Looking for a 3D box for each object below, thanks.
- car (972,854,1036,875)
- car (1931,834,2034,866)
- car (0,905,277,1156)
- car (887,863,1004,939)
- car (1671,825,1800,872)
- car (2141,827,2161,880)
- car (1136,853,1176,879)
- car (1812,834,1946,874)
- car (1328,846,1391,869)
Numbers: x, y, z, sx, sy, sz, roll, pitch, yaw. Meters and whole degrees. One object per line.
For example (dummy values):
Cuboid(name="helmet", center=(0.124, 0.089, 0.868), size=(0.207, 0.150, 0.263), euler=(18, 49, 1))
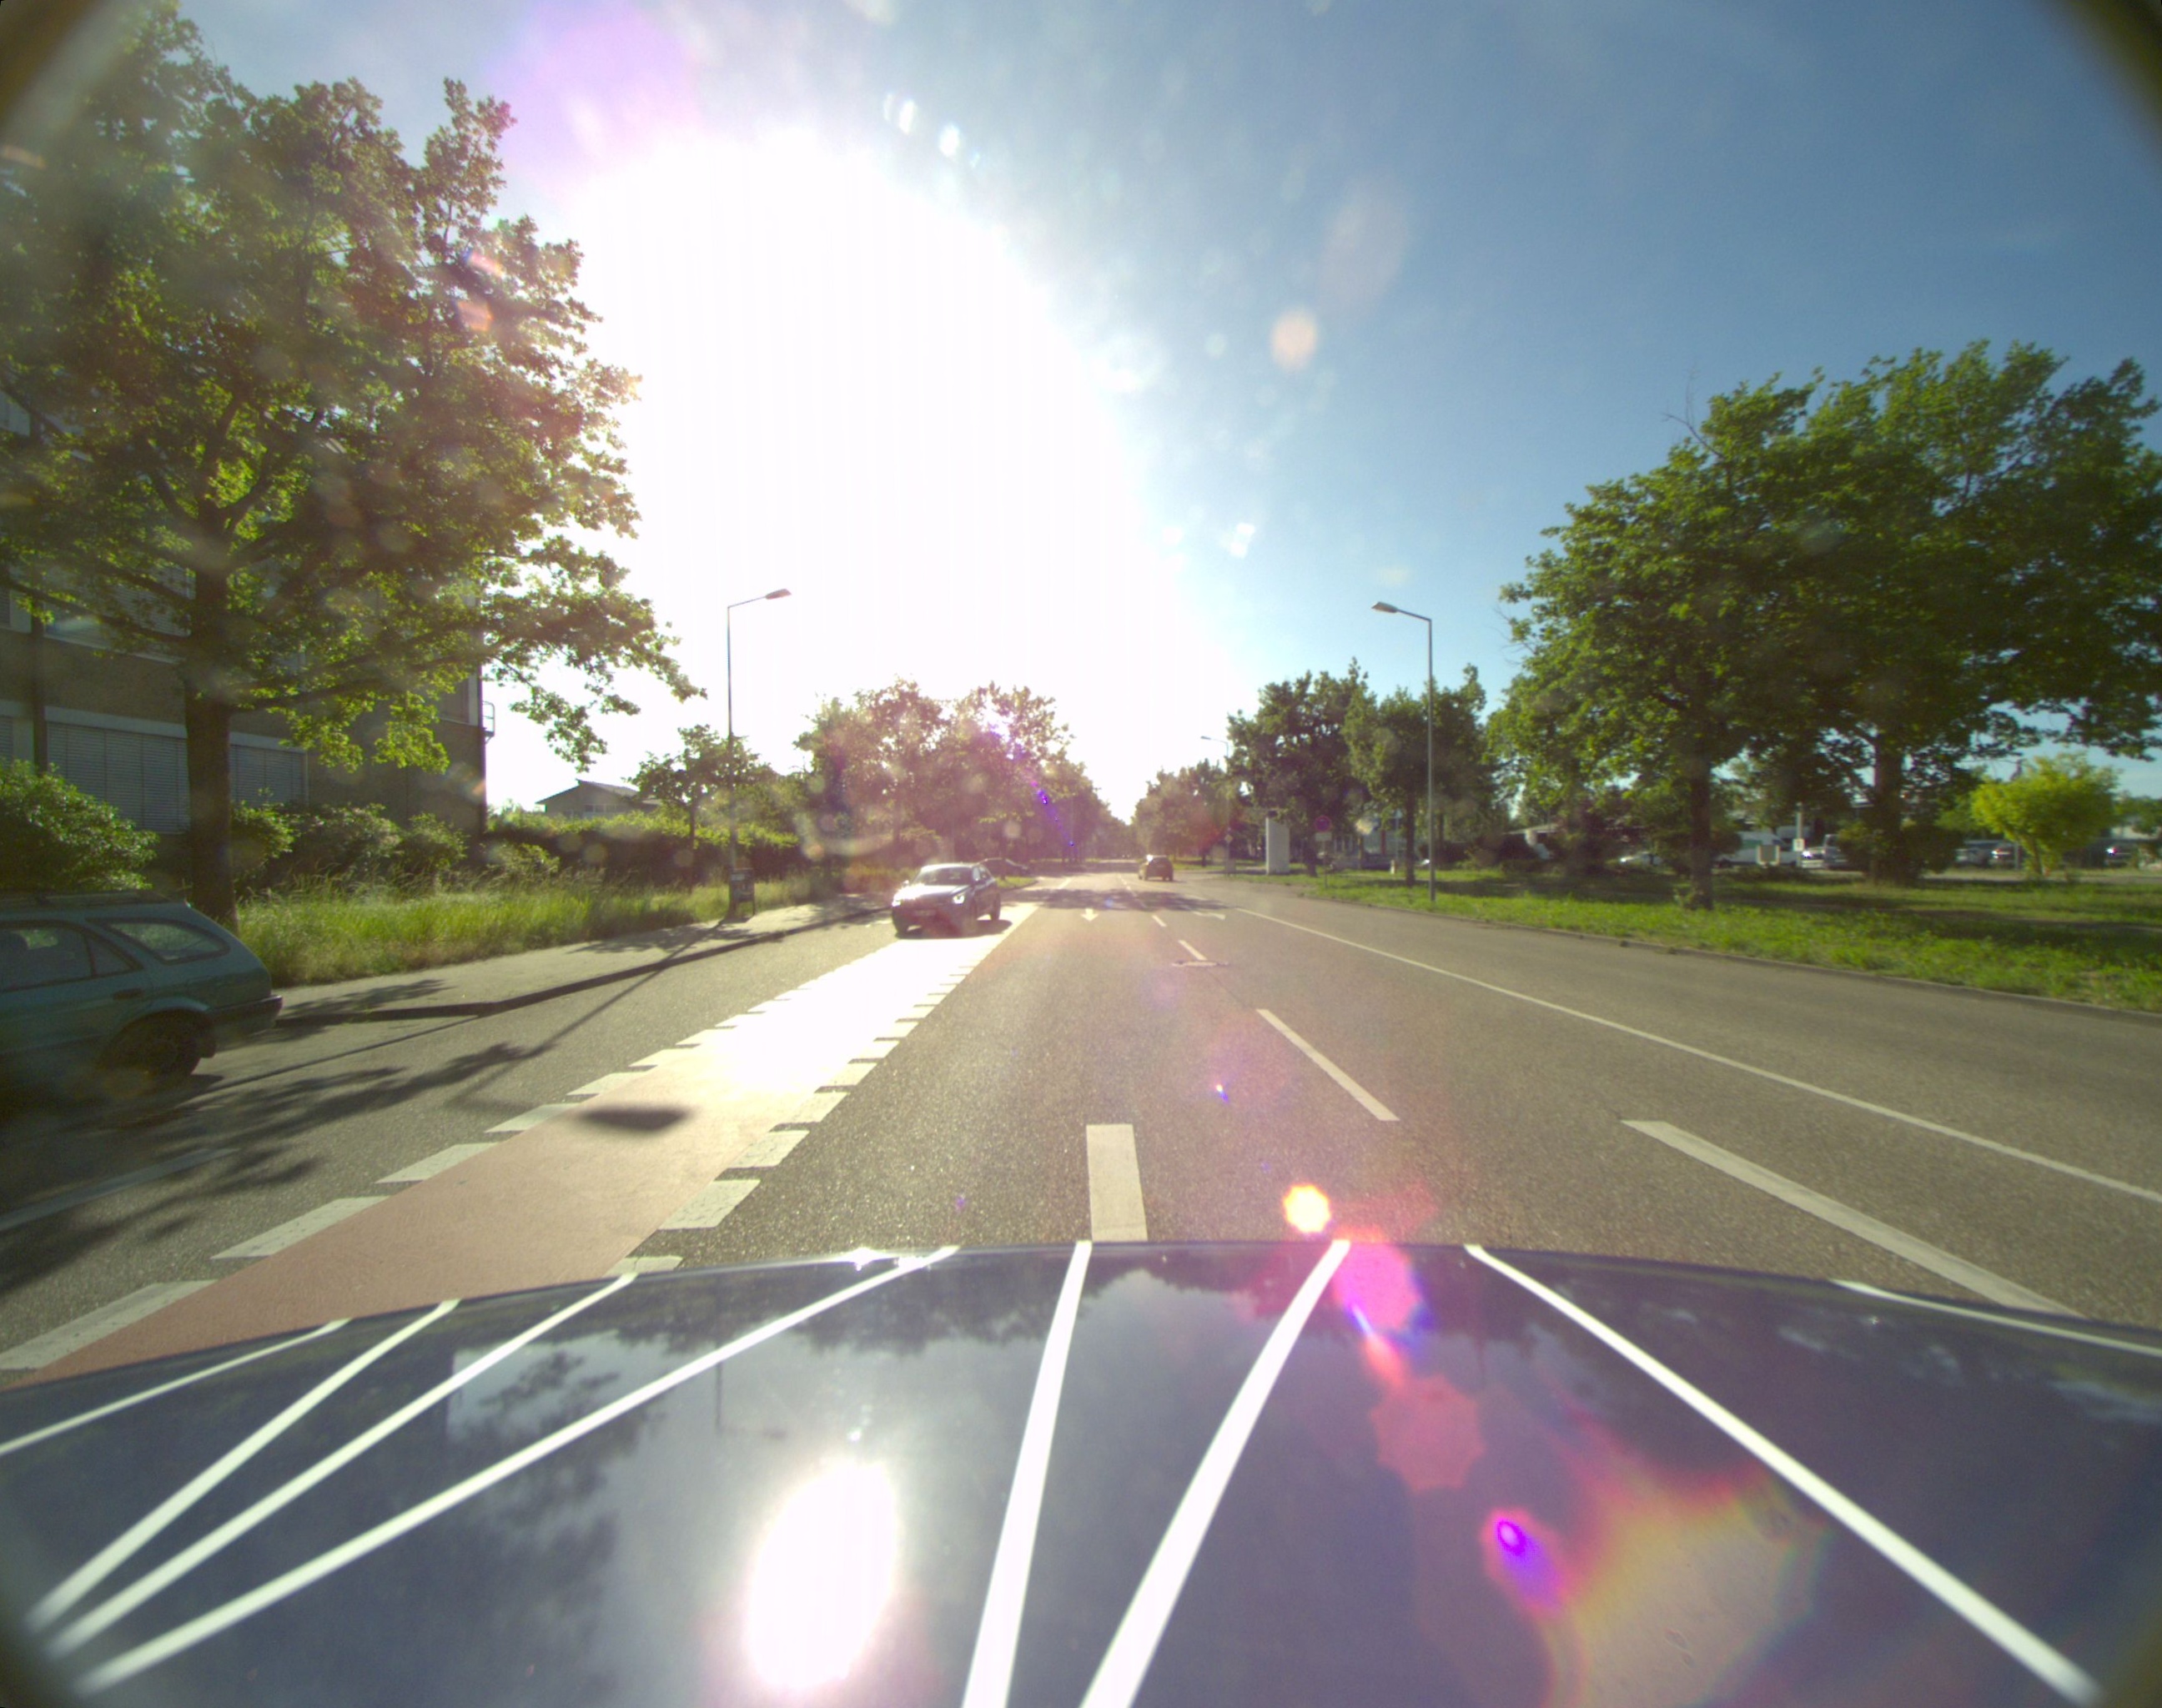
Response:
Cuboid(name="car", center=(-5.869, 0.812, 58.300), size=(4.481, 1.510, 1.898), euler=(0, 1, 12))
Cuboid(name="car", center=(52.083, -0.212, 43.962), size=(3.860, 1.661, 1.762), euler=(-2, 1, 0))
Cuboid(name="car", center=(-7.527, 1.135, 4.217), size=(1.706, 1.460, 4.141), euler=(-1, -1, 0))
Cuboid(name="car", center=(-3.008, 0.998, 17.719), size=(1.653, 1.460, 3.942), euler=(-2, 0, 5))
Cuboid(name="car", center=(39.894, -0.342, 46.399), size=(6.023, 2.540, 2.409), euler=(-2, 1, -4))
Cuboid(name="car", center=(33.884, -0.087, 22.041), size=(3.817, 1.562, 1.736), euler=(-2, -1, 0))
Cuboid(name="car", center=(4.572, 0.718, 46.903), size=(1.768, 1.517, 4.078), euler=(0, 0, -4))
Cuboid(name="car", center=(40.056, -0.008, 38.222), size=(4.642, 1.771, 1.990), euler=(-2, 1, 0))
Cuboid(name="car", center=(23.921, 0.294, 65.370), size=(4.637, 1.822, 2.000), euler=(-2, 1, 0))
